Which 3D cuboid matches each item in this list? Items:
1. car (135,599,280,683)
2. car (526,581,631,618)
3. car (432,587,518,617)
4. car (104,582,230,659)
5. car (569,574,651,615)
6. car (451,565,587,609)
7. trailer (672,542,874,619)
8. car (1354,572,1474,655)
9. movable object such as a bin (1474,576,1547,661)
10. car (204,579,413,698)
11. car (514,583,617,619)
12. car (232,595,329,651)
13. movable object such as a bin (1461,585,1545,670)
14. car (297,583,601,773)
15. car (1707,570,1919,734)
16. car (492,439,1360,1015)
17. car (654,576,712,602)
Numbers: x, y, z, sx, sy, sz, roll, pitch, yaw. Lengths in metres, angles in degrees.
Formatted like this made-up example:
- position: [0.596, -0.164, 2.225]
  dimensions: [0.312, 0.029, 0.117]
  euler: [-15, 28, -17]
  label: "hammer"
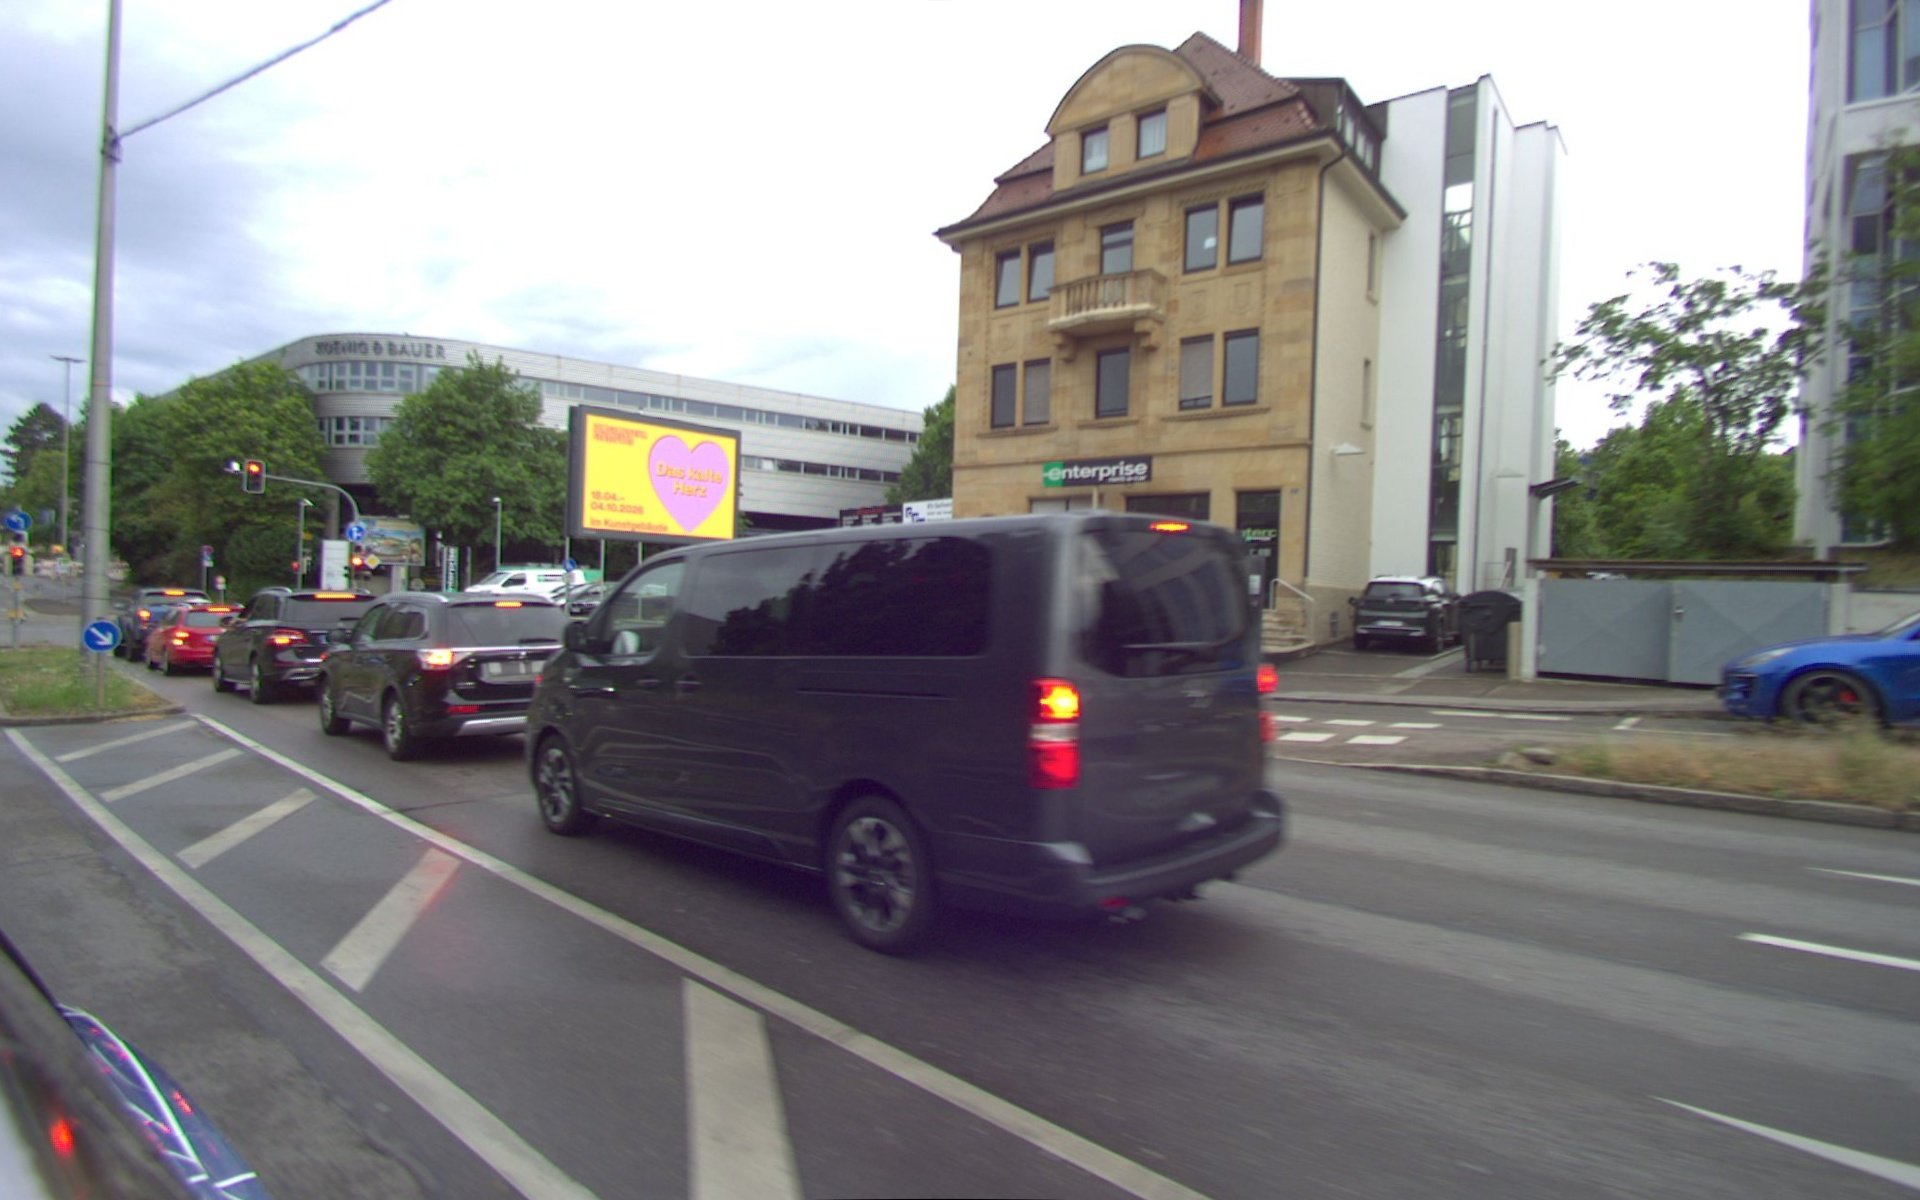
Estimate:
- position: [-16.621, 0.820, 22.266]
  dimensions: [4.442, 1.542, 1.786]
  euler: [2, 1, 43]
  label: "car"
- position: [-15.344, -0.057, 40.789]
  dimensions: [1.742, 1.379, 3.572]
  euler: [1, 3, 43]
  label: "car"
- position: [-28.677, 0.100, 59.842]
  dimensions: [4.309, 1.612, 2.040]
  euler: [-2, 2, -35]
  label: "car"
- position: [-21.136, 0.508, 26.884]
  dimensions: [5.172, 1.832, 1.912]
  euler: [0, -1, 44]
  label: "car"
- position: [-13.299, -0.238, 38.500]
  dimensions: [1.228, 1.435, 2.649]
  euler: [1, 3, 43]
  label: "car"
- position: [-20.072, -0.566, 46.295]
  dimensions: [2.216, 1.815, 5.308]
  euler: [2, 0, 35]
  label: "car"
- position: [-6.445, -0.607, 35.842]
  dimensions: [2.395, 2.446, 7.021]
  euler: [2, 0, 42]
  label: "trailer"
- position: [10.184, 0.284, 22.616]
  dimensions: [1.714, 1.688, 3.013]
  euler: [2, 0, 38]
  label: "car"
- position: [10.458, 0.324, 19.224]
  dimensions: [1.039, 1.553, 1.233]
  euler: [1, 0, 37]
  label: "movable object such as a bin"
- position: [-10.952, 0.582, 16.872]
  dimensions: [4.627, 1.710, 1.933]
  euler: [0, -1, 44]
  label: "car"
- position: [-16.661, 0.009, 42.815]
  dimensions: [1.873, 1.379, 3.572]
  euler: [1, 3, 43]
  label: "car"
- position: [-20.339, 0.641, 30.236]
  dimensions: [4.071, 1.470, 1.525]
  euler: [2, 1, 43]
  label: "car"
- position: [9.536, 0.464, 17.767]
  dimensions: [1.097, 1.416, 1.175]
  euler: [-1, 0, 39]
  label: "movable object such as a bin"
- position: [-5.840, 0.673, 11.239]
  dimensions: [1.669, 1.616, 4.733]
  euler: [1, 1, -44]
  label: "car"
- position: [10.133, 0.487, 9.690]
  dimensions: [4.669, 1.546, 1.670]
  euler: [-2, -2, 41]
  label: "car"
- position: [-0.622, 0.448, 5.779]
  dimensions: [5.042, 1.881, 1.992]
  euler: [-1, -1, 43]
  label: "car"
- position: [-15.549, -0.612, 56.746]
  dimensions: [3.296, 1.331, 1.553]
  euler: [2, 1, 42]
  label: "car"
